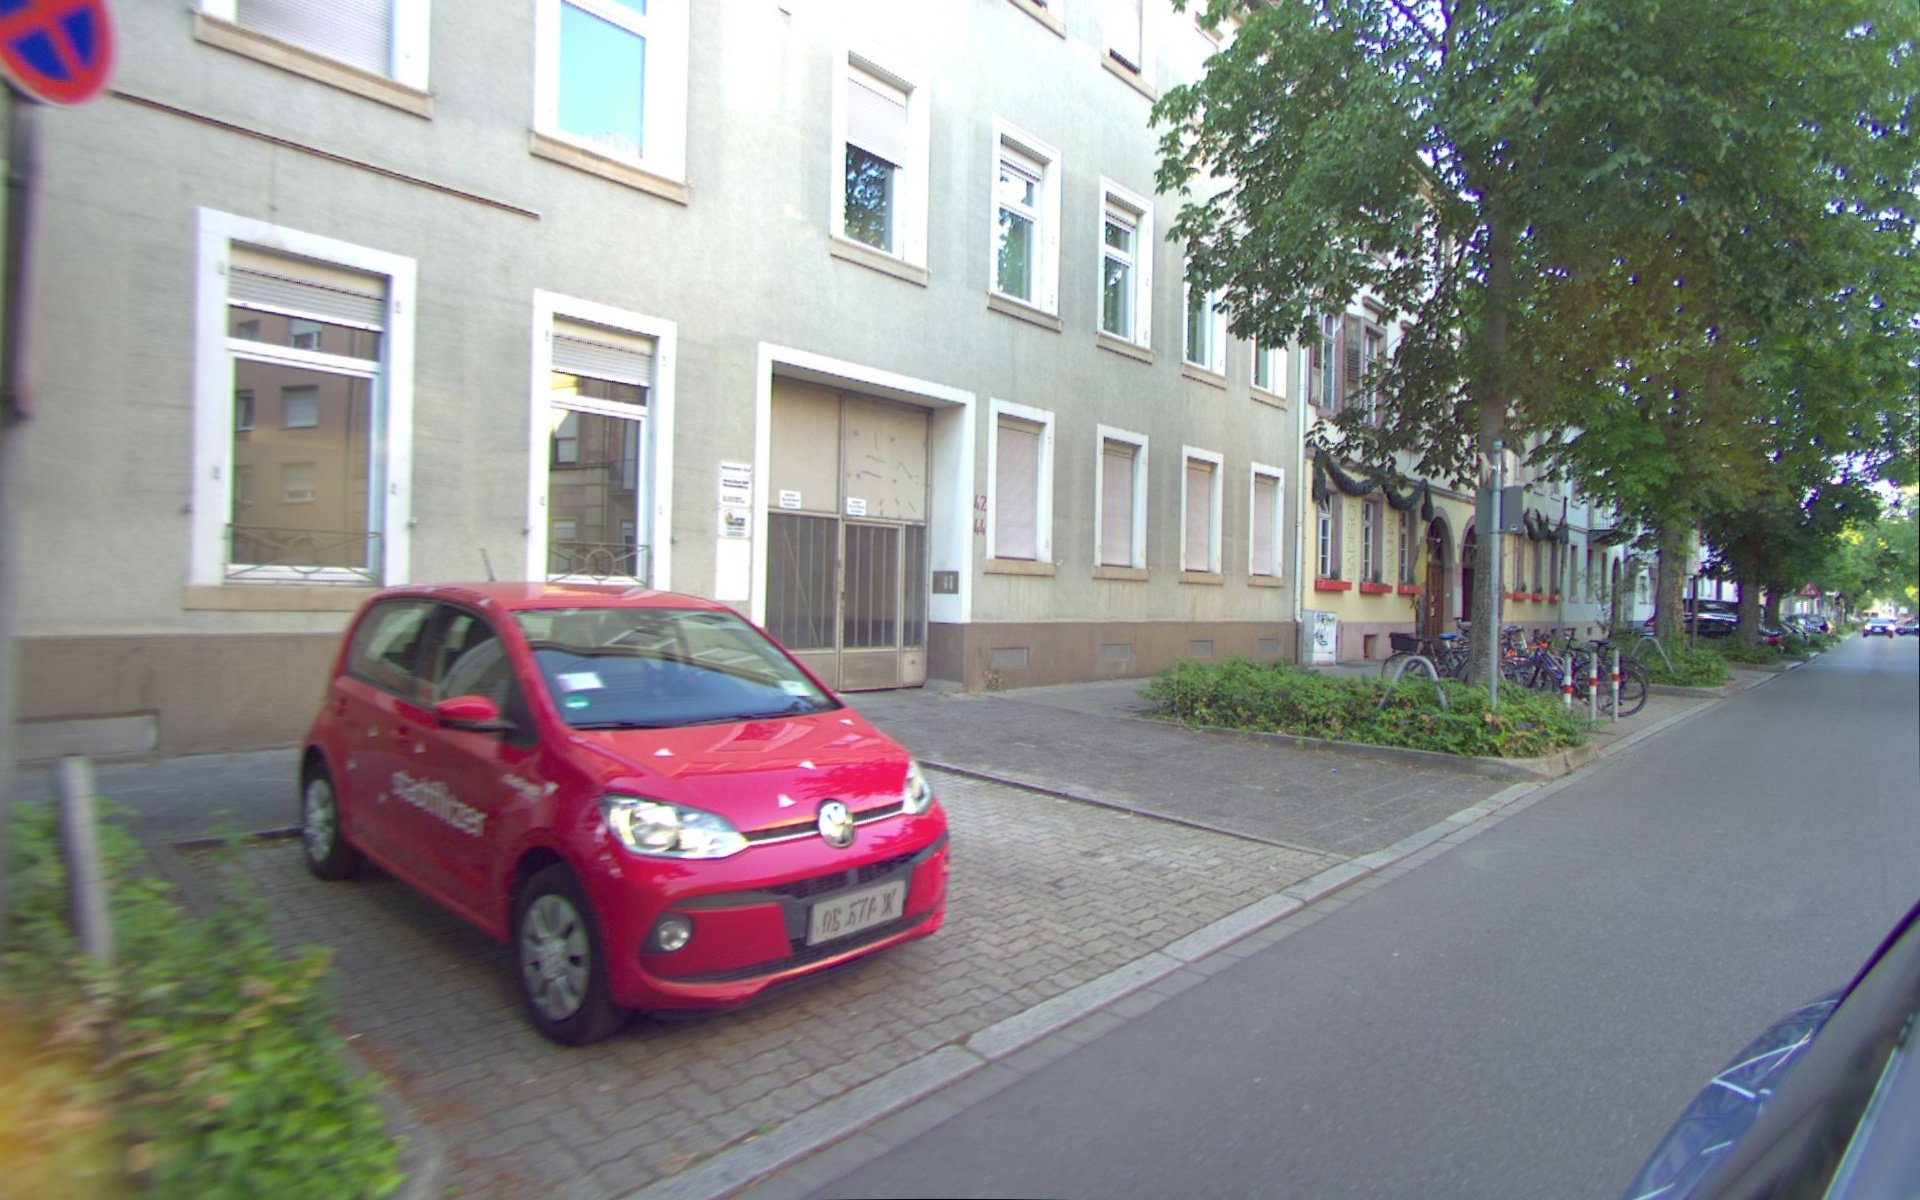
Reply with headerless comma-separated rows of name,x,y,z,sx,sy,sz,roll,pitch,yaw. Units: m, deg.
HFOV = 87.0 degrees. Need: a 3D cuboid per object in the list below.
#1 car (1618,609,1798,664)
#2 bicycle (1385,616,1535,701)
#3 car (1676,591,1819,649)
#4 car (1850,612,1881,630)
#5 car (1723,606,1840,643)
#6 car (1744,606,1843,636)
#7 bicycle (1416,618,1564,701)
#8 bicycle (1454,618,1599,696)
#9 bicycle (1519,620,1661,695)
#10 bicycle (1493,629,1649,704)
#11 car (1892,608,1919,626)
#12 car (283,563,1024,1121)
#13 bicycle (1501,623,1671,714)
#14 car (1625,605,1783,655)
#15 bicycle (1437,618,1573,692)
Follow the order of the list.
car,23.950,1.121,32.521,1.747,1.524,4.434,1,0,-45
bicycle,7.627,0.860,15.532,0.439,1.160,2.038,1,0,-42
car,32.196,0.773,41.474,1.747,2.150,4.434,2,0,-45
car,74.810,1.712,83.586,1.822,1.390,3.937,1,0,43
car,41.251,1.206,50.877,1.747,1.633,4.434,1,0,-45
car,49.900,1.234,60.624,1.747,1.633,4.434,1,0,-45
bicycle,8.350,0.909,16.026,2.035,1.160,0.415,2,0,43
bicycle,9.356,0.909,16.784,2.035,1.160,0.415,2,0,43
bicycle,10.936,0.976,17.624,2.035,1.160,0.415,2,0,43
bicycle,9.521,1.013,15.846,2.035,1.016,0.415,2,0,43
car,83.945,1.526,88.278,3.939,1.551,1.779,1,0,-7
car,-1.628,0.623,4.580,3.654,1.494,1.542,3,1,42
bicycle,9.037,0.952,14.692,0.439,1.160,2.036,1,0,-45
car,27.061,1.051,36.909,1.747,1.633,4.434,1,0,-45
bicycle,9.448,0.929,17.619,2.035,1.160,0.415,2,0,43
